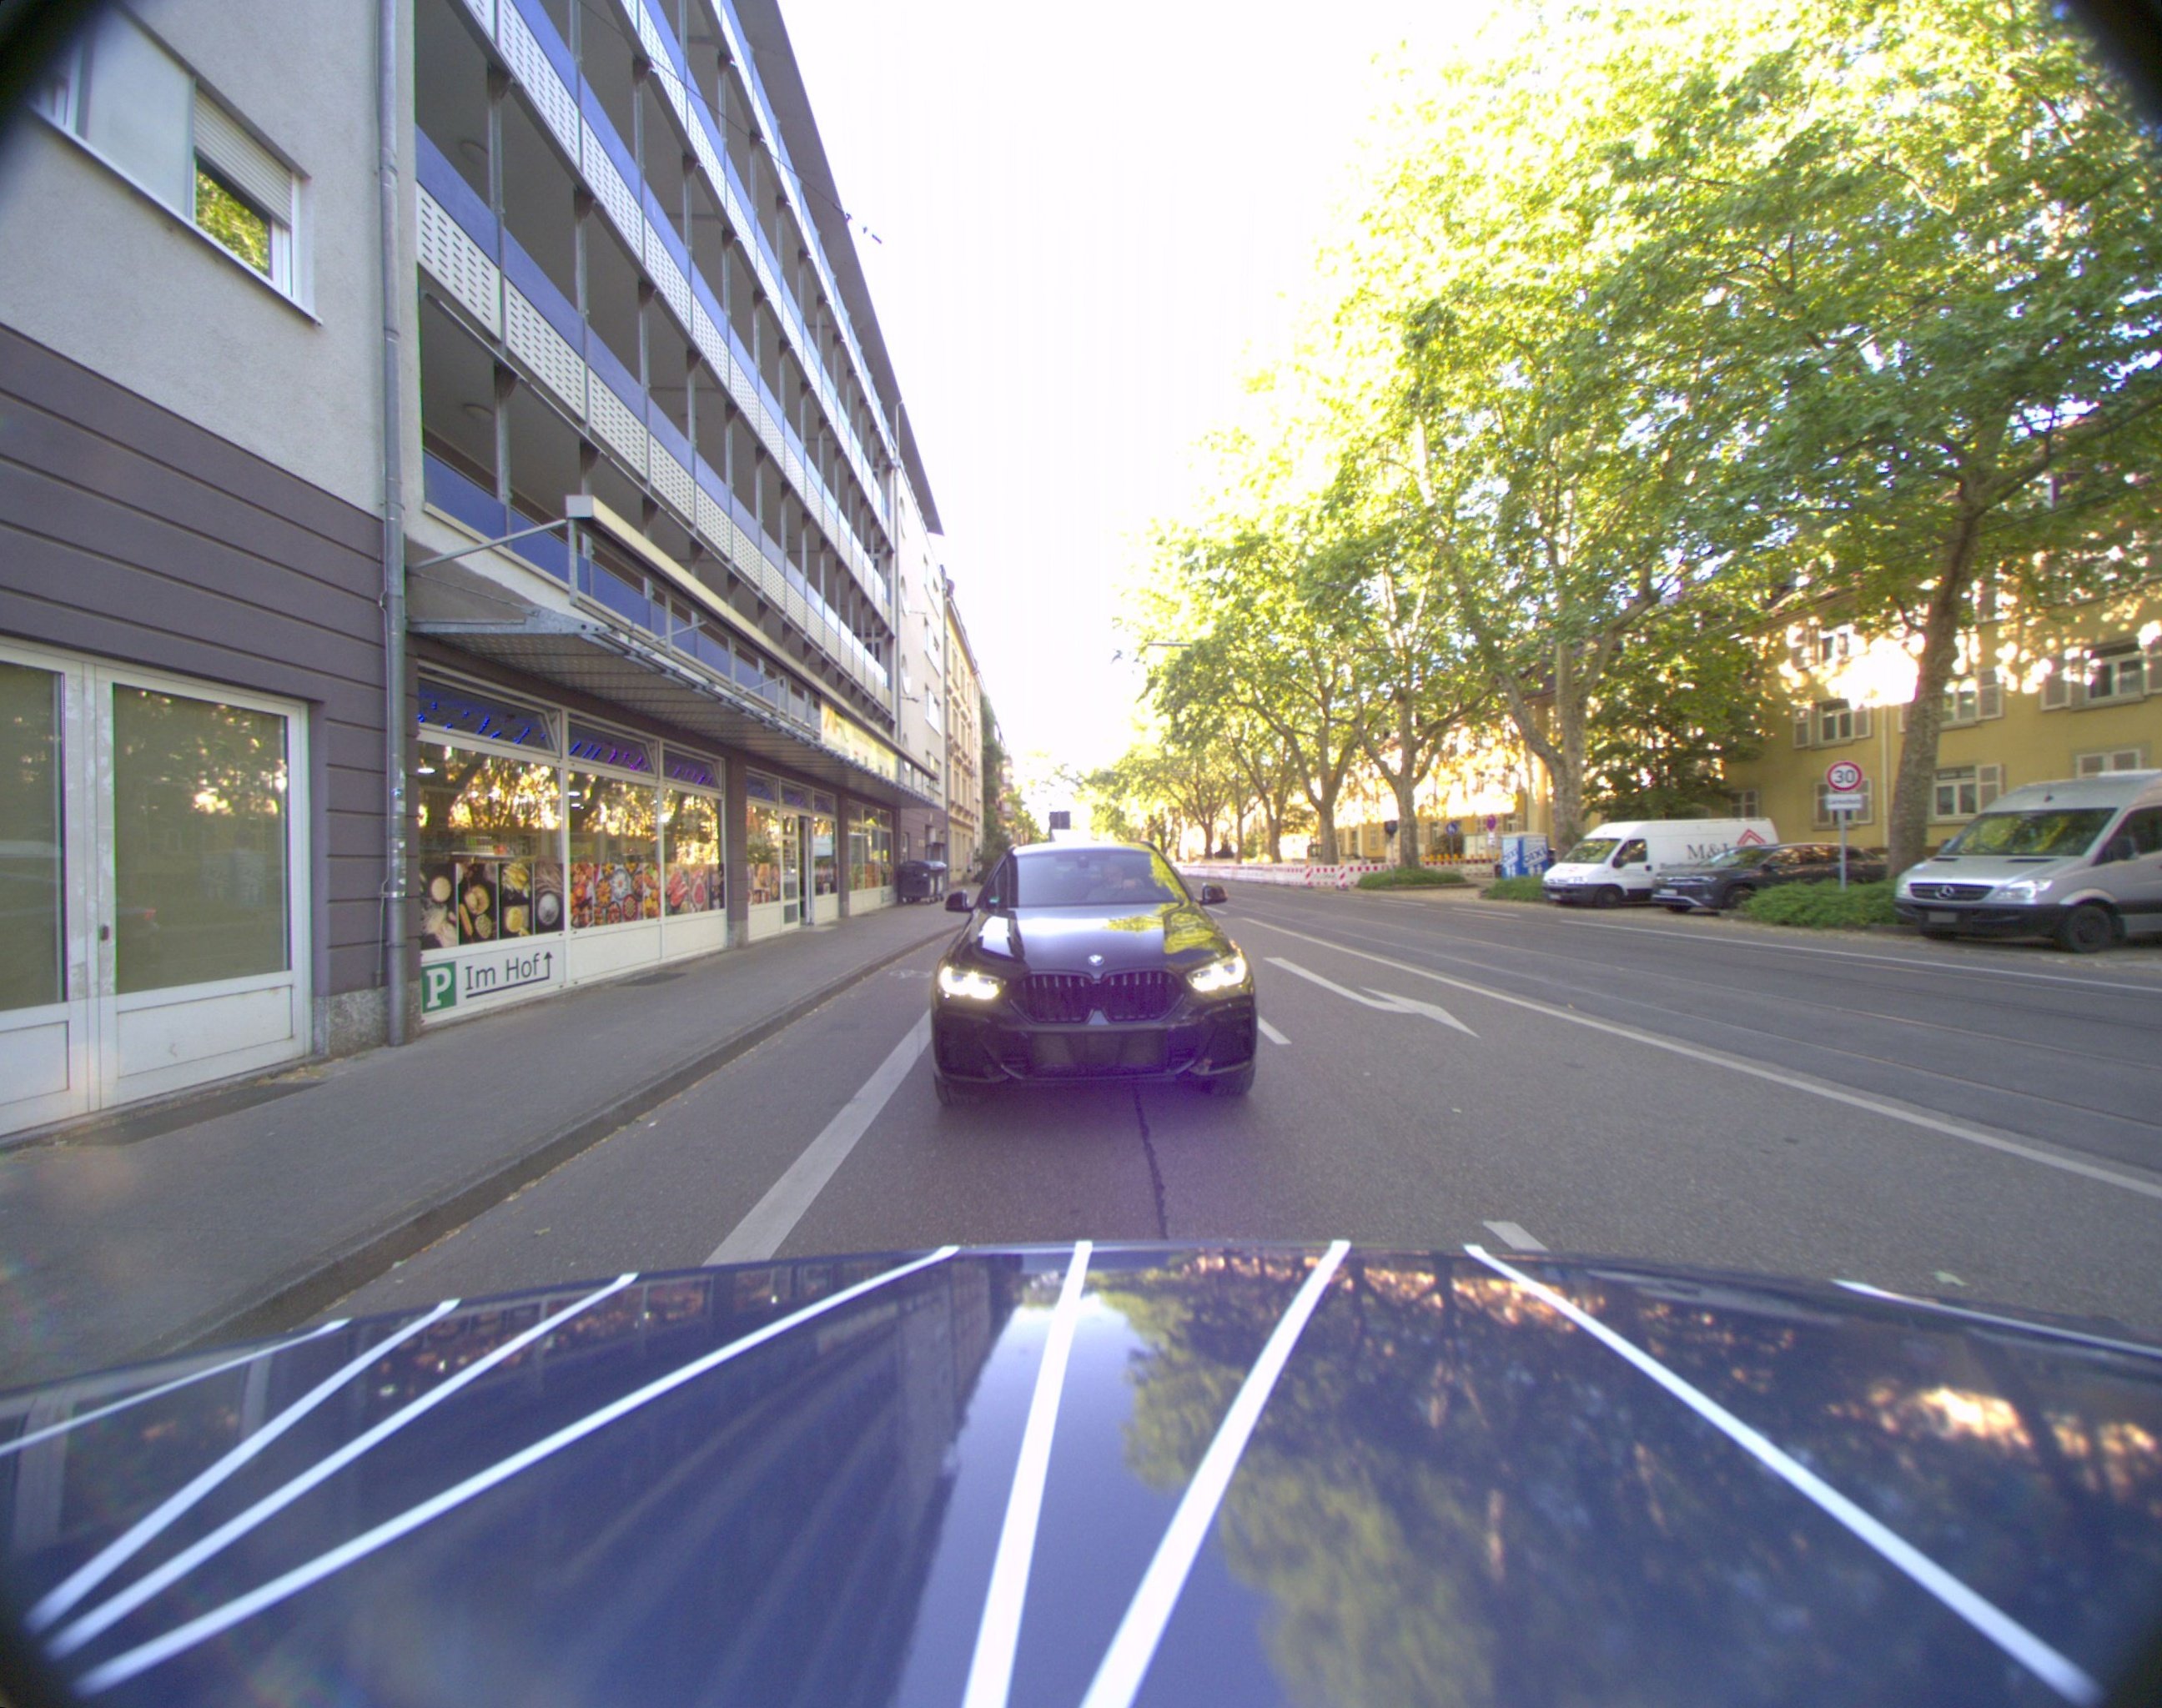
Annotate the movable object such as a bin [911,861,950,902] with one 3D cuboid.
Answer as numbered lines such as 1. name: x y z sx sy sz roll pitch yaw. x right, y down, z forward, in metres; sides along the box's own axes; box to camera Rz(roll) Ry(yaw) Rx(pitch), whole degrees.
1. movable object such as a bin: -5.284 0.954 26.695 1.158 1.418 0.939 -1 0 1

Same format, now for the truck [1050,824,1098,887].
1. truck: -0.316 0.121 42.109 2.394 3.170 6.587 -1 0 1

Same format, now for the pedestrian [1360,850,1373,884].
1. pedestrian: 14.957 0.692 39.817 0.582 1.735 0.653 -2 1 18

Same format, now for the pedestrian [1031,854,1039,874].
1. pedestrian: -4.536 0.993 74.603 0.733 1.875 0.664 -2 1 -1

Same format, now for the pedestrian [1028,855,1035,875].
1. pedestrian: -4.751 1.042 72.694 0.600 1.875 0.581 -2 1 -1

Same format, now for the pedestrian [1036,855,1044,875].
1. pedestrian: -3.906 1.012 72.475 0.600 1.875 0.581 -2 1 -1

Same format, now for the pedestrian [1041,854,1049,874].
1. pedestrian: -3.511 0.971 74.478 0.733 1.875 0.664 -2 1 -1

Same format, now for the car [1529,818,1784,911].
1. car: 15.844 0.290 21.157 5.404 2.362 2.223 -1 0 0

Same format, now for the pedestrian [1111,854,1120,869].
1. pedestrian: 4.390 1.012 96.437 0.743 1.875 0.731 -3 2 -42

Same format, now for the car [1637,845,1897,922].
1. car: 16.077 0.658 17.950 4.627 1.642 1.774 -1 0 -2

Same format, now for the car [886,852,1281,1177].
1. car: 0.041 0.833 6.051 1.998 1.643 4.295 -1 0 1

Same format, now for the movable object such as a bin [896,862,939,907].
1. movable object such as a bin: -5.288 0.980 24.657 1.158 1.418 0.939 -1 0 1

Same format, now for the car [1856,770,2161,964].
1. car: 15.985 0.129 11.824 5.666 2.666 2.223 -2 0 -2
